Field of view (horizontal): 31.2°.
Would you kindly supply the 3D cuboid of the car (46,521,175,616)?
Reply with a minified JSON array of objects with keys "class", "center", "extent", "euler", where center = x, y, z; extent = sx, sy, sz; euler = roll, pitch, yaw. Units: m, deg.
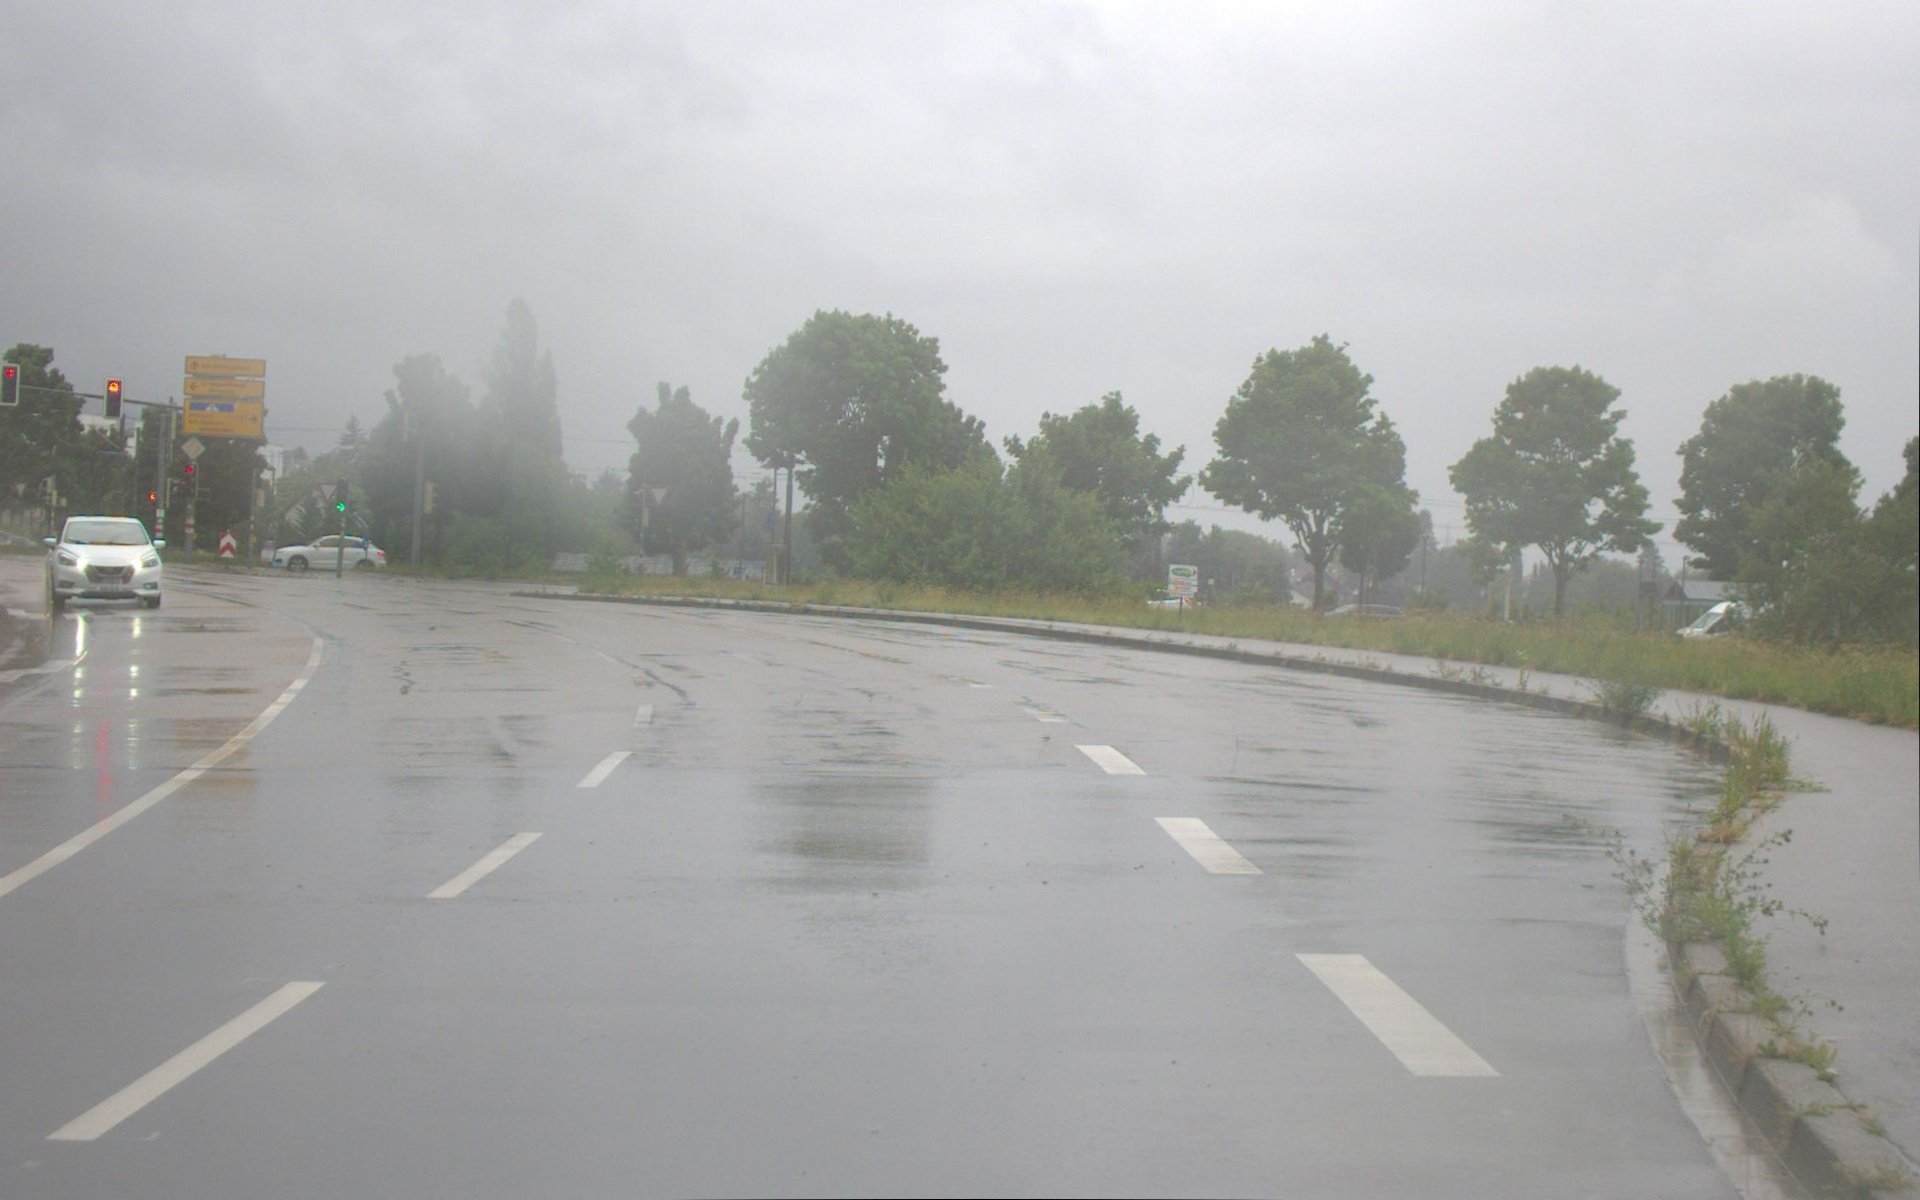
[{"class":"car","center":[-13.983,-0.539,56.742],"extent":[1.739,1.482,4.012],"euler":[1,1,-9]}]

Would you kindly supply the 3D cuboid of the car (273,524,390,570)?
[{"class":"car","center":[-24.697,-2.079,135.028],"extent":[4.374,1.574,1.733],"euler":[3,1,-14]}]
